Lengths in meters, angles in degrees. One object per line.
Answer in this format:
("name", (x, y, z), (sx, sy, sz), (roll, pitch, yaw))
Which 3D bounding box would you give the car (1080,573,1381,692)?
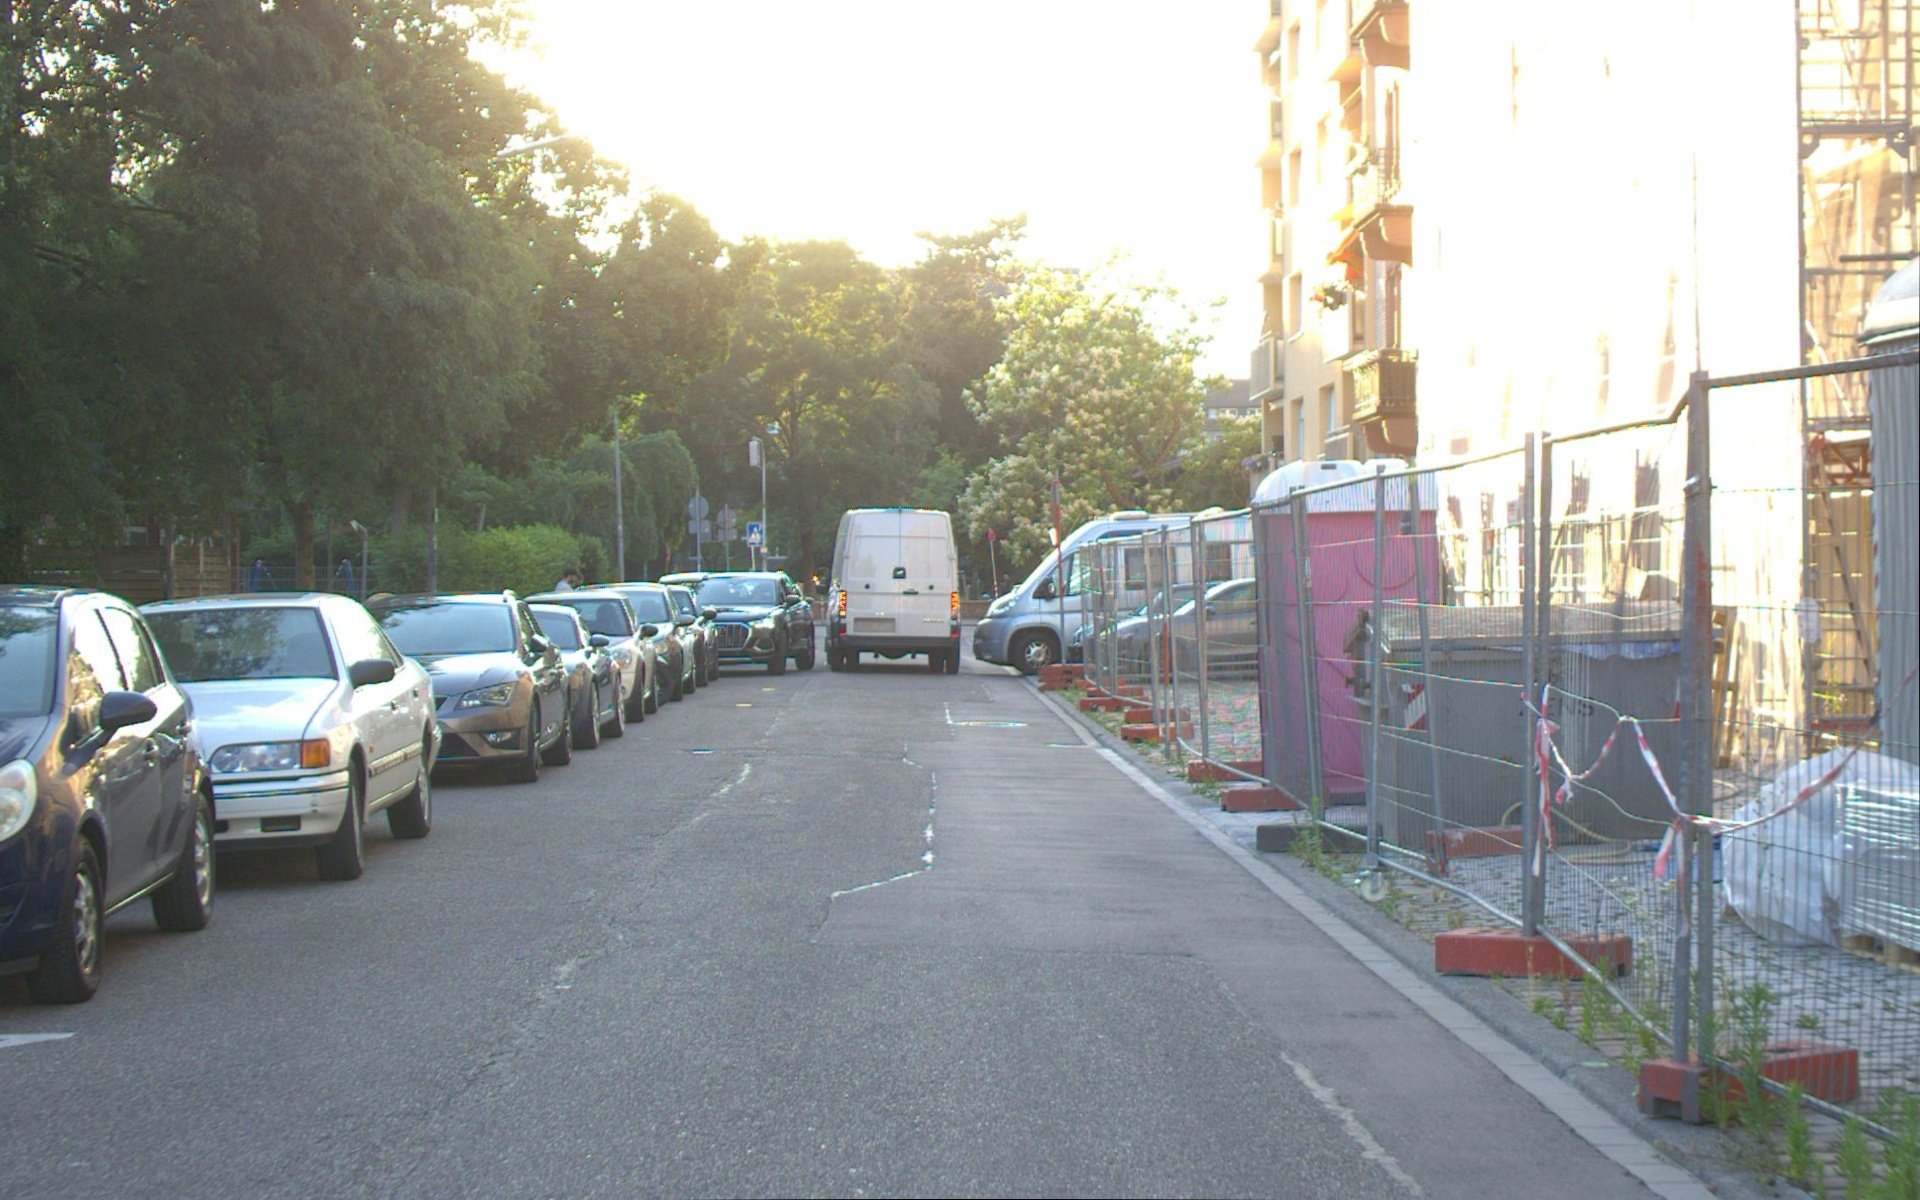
("car", (3.873, 0.455, 49.674), (3.986, 1.510, 2.020), (-3, 0, -5))

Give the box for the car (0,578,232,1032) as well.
("car", (-4.037, 0.642, 12.946), (1.993, 1.448, 4.001), (0, 0, -4))

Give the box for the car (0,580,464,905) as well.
("car", (-3.849, 0.658, 18.366), (1.782, 1.441, 4.749), (-3, 0, -2))

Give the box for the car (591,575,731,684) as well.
("car", (-4.264, 0.400, 49.492), (1.637, 1.473, 3.992), (-2, 0, 0))

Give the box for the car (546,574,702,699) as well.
("car", (-4.282, 0.438, 44.336), (1.715, 1.491, 4.361), (-1, 0, -2))

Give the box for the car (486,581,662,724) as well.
("car", (-4.209, 0.544, 37.928), (1.601, 1.426, 3.804), (-3, 0, -2))

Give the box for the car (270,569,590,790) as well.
("car", (-4.031, 0.557, 26.882), (1.860, 1.532, 4.759), (-1, 0, -2))

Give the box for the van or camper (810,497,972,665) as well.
("van or camper", (-1.115, -0.307, 56.717), (2.453, 2.538, 6.083), (2, 0, -1))

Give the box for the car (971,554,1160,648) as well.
("car", (2.561, 0.023, 84.326), (4.495, 2.223, 2.032), (1, 0, -1))

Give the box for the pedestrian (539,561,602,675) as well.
("pedestrian", (-6.318, 0.284, 55.816), (0.937, 1.824, 0.787), (1, 0, -2))

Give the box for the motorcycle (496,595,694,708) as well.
("motorcycle", (-4.361, 0.610, 41.143), (2.165, 1.299, 0.879), (1, 0, 13))

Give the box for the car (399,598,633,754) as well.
("car", (-4.085, 0.667, 32.170), (1.659, 1.309, 4.155), (-1, 0, 0))

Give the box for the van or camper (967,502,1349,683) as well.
("van or camper", (3.129, -0.120, 55.309), (5.928, 2.760, 2.110), (1, 0, -2))

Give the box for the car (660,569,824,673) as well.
("car", (-3.393, 0.313, 54.293), (1.805, 1.564, 4.564), (-1, 0, 6))
